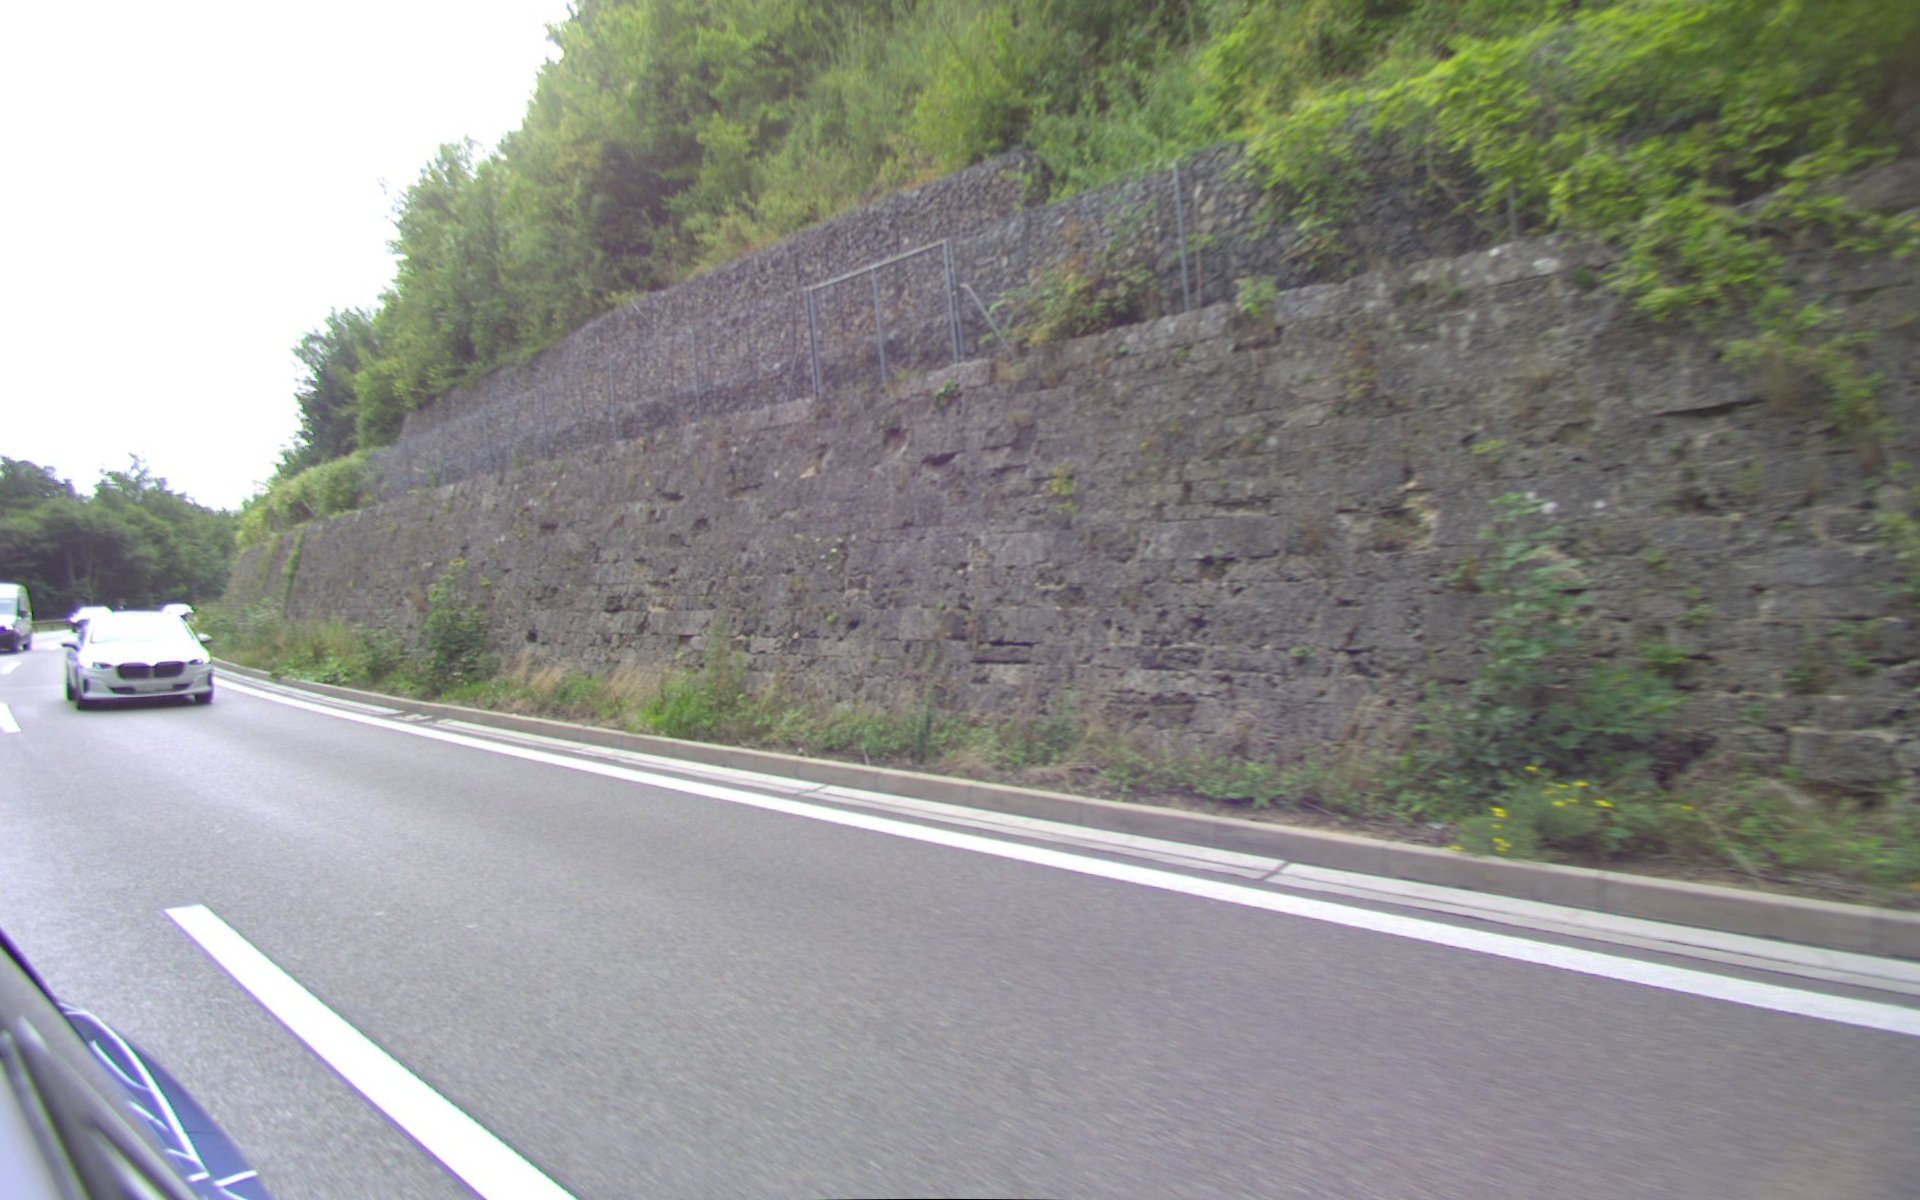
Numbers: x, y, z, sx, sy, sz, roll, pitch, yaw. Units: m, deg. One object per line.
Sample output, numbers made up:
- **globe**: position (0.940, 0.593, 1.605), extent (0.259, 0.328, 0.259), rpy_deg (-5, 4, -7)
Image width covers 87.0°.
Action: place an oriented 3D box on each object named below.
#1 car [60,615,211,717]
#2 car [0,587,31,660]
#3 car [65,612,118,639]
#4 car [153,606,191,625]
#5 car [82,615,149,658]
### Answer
- **car**: position (-14.566, 1.067, 17.803), extent (1.797, 1.567, 4.004), rpy_deg (0, -1, -43)
- **car**: position (-36.341, 0.885, 37.768), extent (2.067, 2.582, 5.930), rpy_deg (0, -1, -39)
- **car**: position (-54.024, 1.563, 63.023), extent (1.793, 1.567, 4.012), rpy_deg (0, -1, -30)
- **car**: position (-66.689, 1.315, 85.672), extent (1.793, 1.567, 4.013), rpy_deg (0, -1, -27)
- **car**: position (-32.938, 1.382, 39.421), extent (1.797, 1.567, 4.004), rpy_deg (0, -1, -43)
